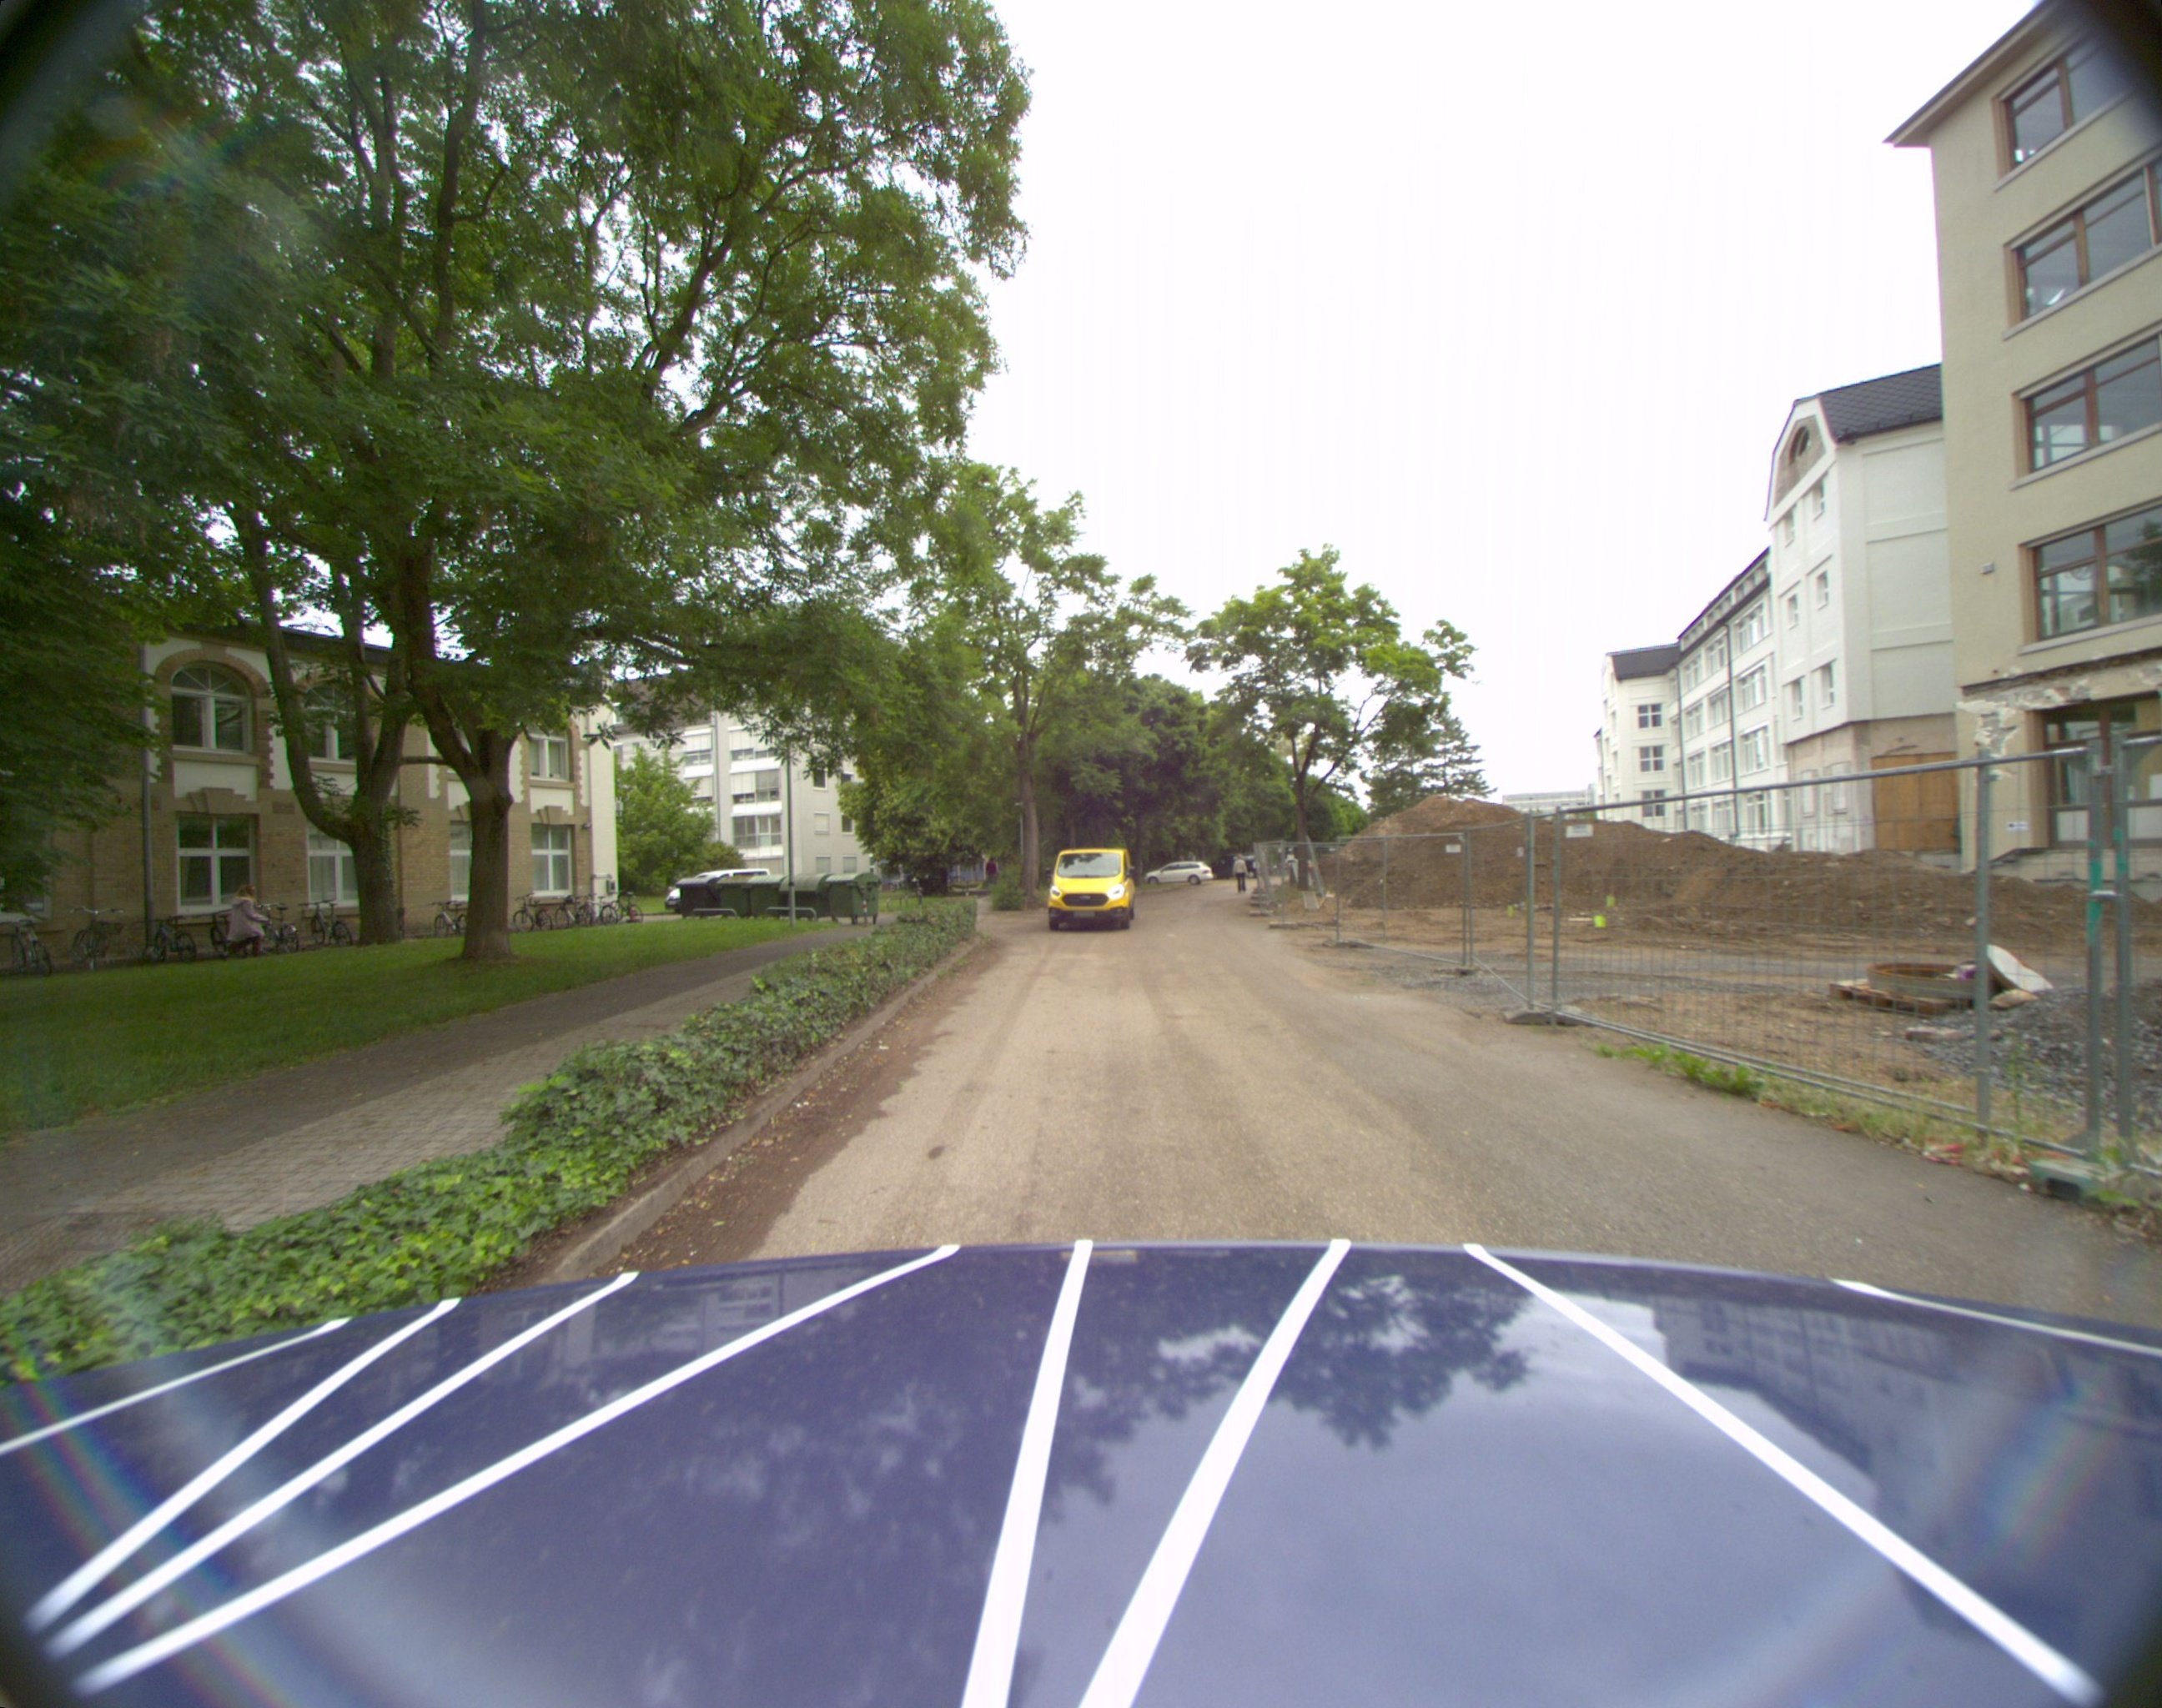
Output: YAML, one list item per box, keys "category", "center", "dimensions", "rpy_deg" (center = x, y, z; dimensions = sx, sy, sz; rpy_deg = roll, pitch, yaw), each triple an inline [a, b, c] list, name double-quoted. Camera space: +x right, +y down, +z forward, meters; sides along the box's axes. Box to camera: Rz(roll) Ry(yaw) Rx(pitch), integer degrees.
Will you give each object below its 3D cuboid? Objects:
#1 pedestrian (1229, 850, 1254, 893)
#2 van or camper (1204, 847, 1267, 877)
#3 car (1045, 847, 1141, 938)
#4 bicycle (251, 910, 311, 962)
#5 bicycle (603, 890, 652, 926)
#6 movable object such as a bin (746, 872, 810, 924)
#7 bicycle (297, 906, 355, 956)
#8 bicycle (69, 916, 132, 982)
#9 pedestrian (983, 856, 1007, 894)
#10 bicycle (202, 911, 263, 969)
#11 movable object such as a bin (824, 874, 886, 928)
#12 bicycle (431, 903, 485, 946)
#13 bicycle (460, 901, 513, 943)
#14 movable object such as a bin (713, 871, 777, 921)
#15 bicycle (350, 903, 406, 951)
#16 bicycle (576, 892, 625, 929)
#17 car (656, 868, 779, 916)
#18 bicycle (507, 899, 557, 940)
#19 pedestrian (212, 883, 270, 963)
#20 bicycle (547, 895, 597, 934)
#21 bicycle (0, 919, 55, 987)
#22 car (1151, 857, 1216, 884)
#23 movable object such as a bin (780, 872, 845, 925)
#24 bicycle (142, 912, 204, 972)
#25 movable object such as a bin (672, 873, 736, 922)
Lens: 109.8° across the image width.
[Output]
- category: "pedestrian"
  center: [6.841, 0.732, 32.432]
  dimensions: [0.752, 1.771, 0.662]
  rpy_deg: [-2, 0, -24]
- category: "van or camper"
  center: [12.180, 0.653, 59.998]
  dimensions: [4.490, 2.244, 2.004]
  rpy_deg: [-2, 0, 27]
- category: "car"
  center: [0.321, 0.895, 19.174]
  dimensions: [2.123, 2.001, 4.001]
  rpy_deg: [-2, -1, 1]
- category: "bicycle"
  center: [-18.080, 1.824, 17.159]
  dimensions: [1.740, 1.108, 0.461]
  rpy_deg: [-2, 0, 28]
- category: "bicycle"
  center: [-14.630, 1.738, 24.496]
  dimensions: [1.740, 1.108, 0.461]
  rpy_deg: [-2, 0, 27]
- category: "movable object such as a bin"
  center: [-8.953, 1.295, 22.472]
  dimensions: [1.292, 1.441, 1.110]
  rpy_deg: [-2, 0, 19]
- category: "bicycle"
  center: [-17.832, 1.799, 17.940]
  dimensions: [1.740, 1.108, 0.461]
  rpy_deg: [-2, 0, 28]
- category: "bicycle"
  center: [-19.188, 1.835, 14.859]
  dimensions: [1.740, 1.108, 0.461]
  rpy_deg: [1, 1, 28]
- category: "pedestrian"
  center: [-4.744, 1.141, 42.111]
  dimensions: [0.793, 2.052, 1.203]
  rpy_deg: [-2, 0, 22]
- category: "bicycle"
  center: [-18.371, 1.844, 16.443]
  dimensions: [1.740, 1.108, 0.461]
  rpy_deg: [1, 1, 28]
- category: "movable object such as a bin"
  center: [-6.297, 1.285, 21.198]
  dimensions: [1.272, 1.425, 1.074]
  rpy_deg: [-2, 0, 35]
- category: "bicycle"
  center: [-16.682, 1.871, 20.339]
  dimensions: [1.740, 1.108, 0.461]
  rpy_deg: [-2, 0, 28]
- category: "bicycle"
  center: [-16.329, 1.855, 20.854]
  dimensions: [1.740, 1.108, 0.461]
  rpy_deg: [-2, 0, 28]
- category: "movable object such as a bin"
  center: [-10.221, 1.267, 23.142]
  dimensions: [1.324, 1.441, 1.110]
  rpy_deg: [-2, 0, 19]
- category: "bicycle"
  center: [-17.506, 1.797, 18.910]
  dimensions: [1.740, 1.108, 0.461]
  rpy_deg: [-2, 0, 28]
- category: "bicycle"
  center: [-15.016, 1.772, 23.727]
  dimensions: [1.740, 1.108, 0.461]
  rpy_deg: [-2, 0, 28]
- category: "car"
  center: [-16.566, 1.682, 34.908]
  dimensions: [1.897, 1.861, 4.782]
  rpy_deg: [-5, -2, 28]
- category: "bicycle"
  center: [-15.844, 1.875, 21.917]
  dimensions: [1.740, 1.108, 0.461]
  rpy_deg: [-2, -1, 30]
- category: "pedestrian"
  center: [-17.280, 1.398, 15.633]
  dimensions: [0.602, 1.577, 0.628]
  rpy_deg: [-2, 0, 27]
- category: "bicycle"
  center: [-15.379, 1.816, 22.959]
  dimensions: [1.740, 1.108, 0.461]
  rpy_deg: [-2, 0, 28]
- category: "bicycle"
  center: [-19.652, 1.813, 14.109]
  dimensions: [1.740, 1.108, 0.461]
  rpy_deg: [0, 1, 28]
- category: "car"
  center: [6.582, 1.069, 48.657]
  dimensions: [3.879, 1.565, 1.754]
  rpy_deg: [-2, 0, 15]
- category: "movable object such as a bin"
  center: [-7.651, 1.259, 21.675]
  dimensions: [1.283, 1.441, 1.111]
  rpy_deg: [-2, 0, 26]
- category: "bicycle"
  center: [-18.798, 1.801, 15.726]
  dimensions: [1.740, 1.108, 0.461]
  rpy_deg: [-1, 0, 28]
- category: "movable object such as a bin"
  center: [-11.752, 1.340, 23.687]
  dimensions: [1.359, 1.441, 1.110]
  rpy_deg: [-2, 0, 21]
